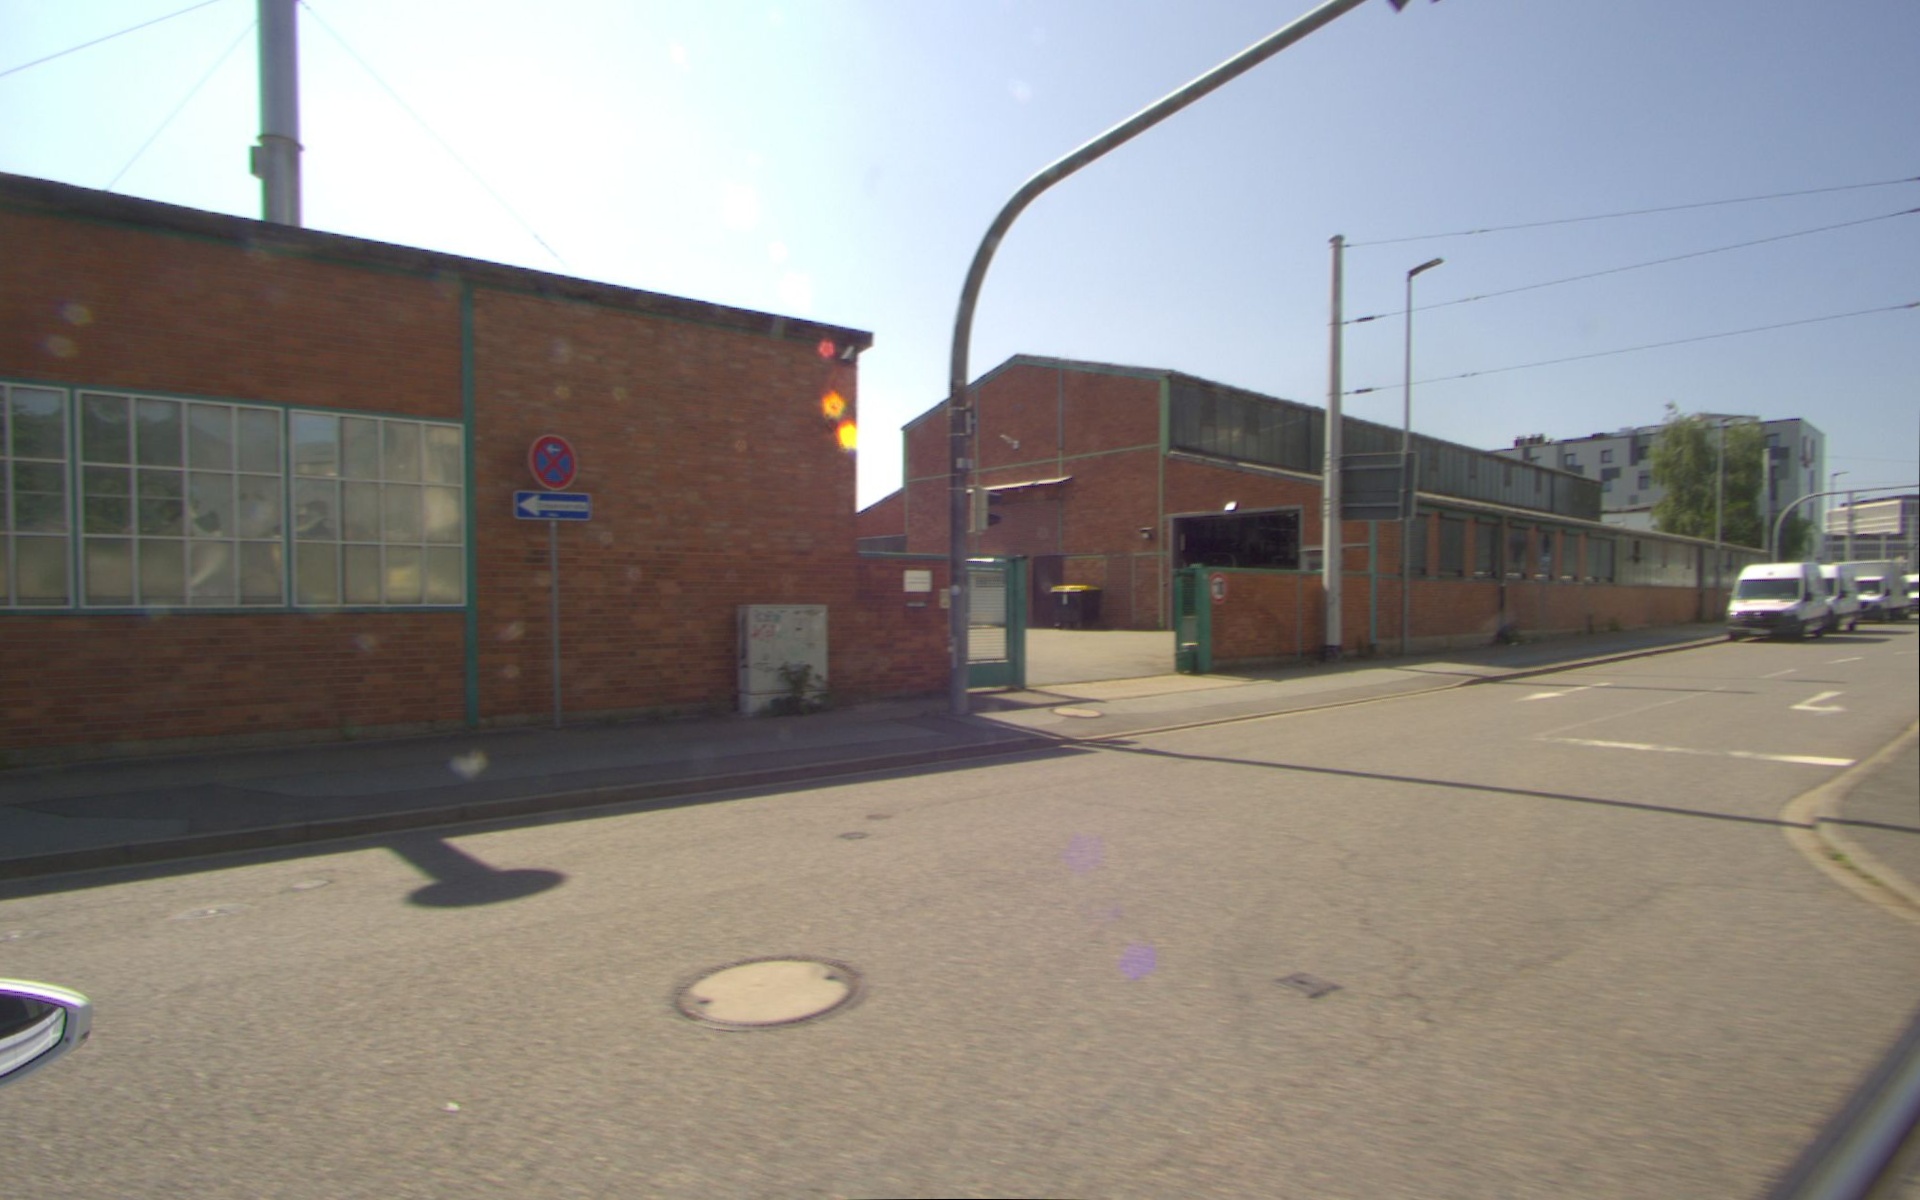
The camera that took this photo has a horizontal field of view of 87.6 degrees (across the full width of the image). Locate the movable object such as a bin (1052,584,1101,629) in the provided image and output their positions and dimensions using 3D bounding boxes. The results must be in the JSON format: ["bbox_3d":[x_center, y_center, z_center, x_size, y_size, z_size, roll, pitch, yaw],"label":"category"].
[{"bbox_3d":[3.542,0.180,30.424,0.966,1.332,1.142,-2,2,-40],"label":"movable object such as a bin"}]

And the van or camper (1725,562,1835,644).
[{"bbox_3d":[28.020,0.066,34.144,5.807,2.568,2.025,-1,1,-42],"label":"van or camper"}]

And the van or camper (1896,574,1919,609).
[{"bbox_3d":[63.082,-0.589,65.945,1.938,2.241,4.861,1,1,45],"label":"van or camper"}]

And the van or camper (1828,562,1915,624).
[{"bbox_3d":[44.517,-0.369,48.845,7.042,2.824,2.500,-1,1,-43],"label":"van or camper"}]

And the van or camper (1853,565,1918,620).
[{"bbox_3d":[49.539,-0.394,53.552,4.682,2.824,2.156,-1,2,-43],"label":"van or camper"}]

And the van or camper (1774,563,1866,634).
[{"bbox_3d":[33.557,-0.083,39.026,5.523,2.568,2.025,-1,2,-42],"label":"van or camper"}]
